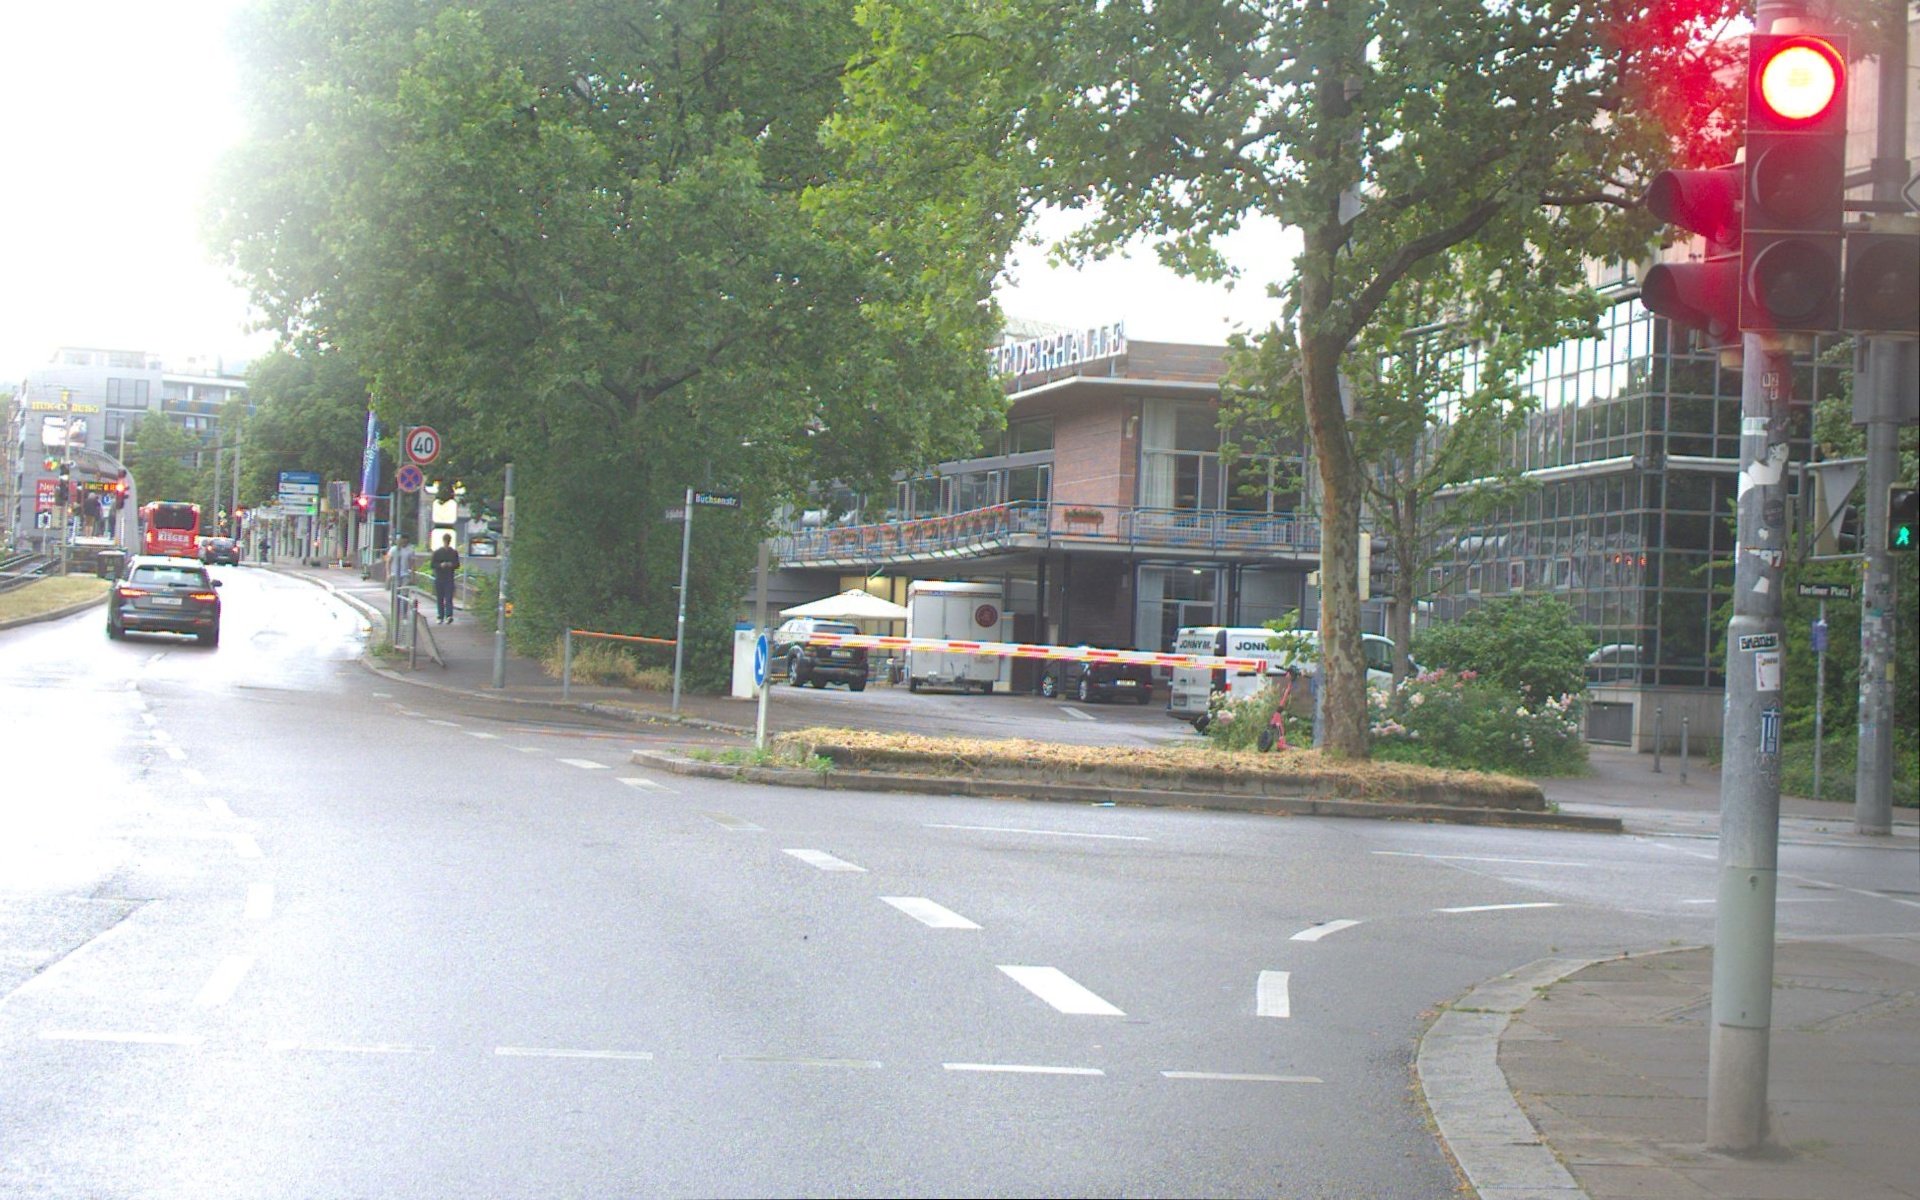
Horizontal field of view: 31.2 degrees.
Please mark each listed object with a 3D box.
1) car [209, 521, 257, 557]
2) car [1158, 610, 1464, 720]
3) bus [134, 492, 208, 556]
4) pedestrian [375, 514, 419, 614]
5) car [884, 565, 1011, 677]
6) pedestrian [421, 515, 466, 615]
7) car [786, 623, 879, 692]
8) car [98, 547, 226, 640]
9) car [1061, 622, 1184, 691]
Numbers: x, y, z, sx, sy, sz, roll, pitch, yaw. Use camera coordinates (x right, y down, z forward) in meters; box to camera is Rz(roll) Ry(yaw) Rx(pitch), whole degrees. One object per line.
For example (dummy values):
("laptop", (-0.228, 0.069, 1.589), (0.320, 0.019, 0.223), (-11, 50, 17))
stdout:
("car", (-38.397, -3.196, 181.400), (2.362, 1.810, 5.185), (1, 1, -13))
("car", (6.365, 1.181, 62.206), (5.198, 1.725, 1.875), (3, 1, -25))
("bus", (-40.488, -3.851, 176.418), (3.589, 3.160, 10.423), (1, 1, -13))
("pedestrian", (-11.373, -0.724, 69.482), (0.814, 2.007, 1.077), (1, 0, -8))
("car", (-0.389, 0.511, 91.428), (2.731, 2.686, 6.923), (3, 1, -5))
("pedestrian", (-10.471, -0.714, 69.715), (0.874, 2.007, 1.077), (1, 0, -8))
("car", (-3.236, 1.461, 87.950), (2.019, 1.546, 4.350), (3, 1, 2))
("car", (-13.632, -0.127, 58.931), (1.993, 1.514, 4.351), (1, 1, -11))
("car", (4.178, 1.442, 89.178), (2.019, 1.546, 4.351), (3, 1, -13))
